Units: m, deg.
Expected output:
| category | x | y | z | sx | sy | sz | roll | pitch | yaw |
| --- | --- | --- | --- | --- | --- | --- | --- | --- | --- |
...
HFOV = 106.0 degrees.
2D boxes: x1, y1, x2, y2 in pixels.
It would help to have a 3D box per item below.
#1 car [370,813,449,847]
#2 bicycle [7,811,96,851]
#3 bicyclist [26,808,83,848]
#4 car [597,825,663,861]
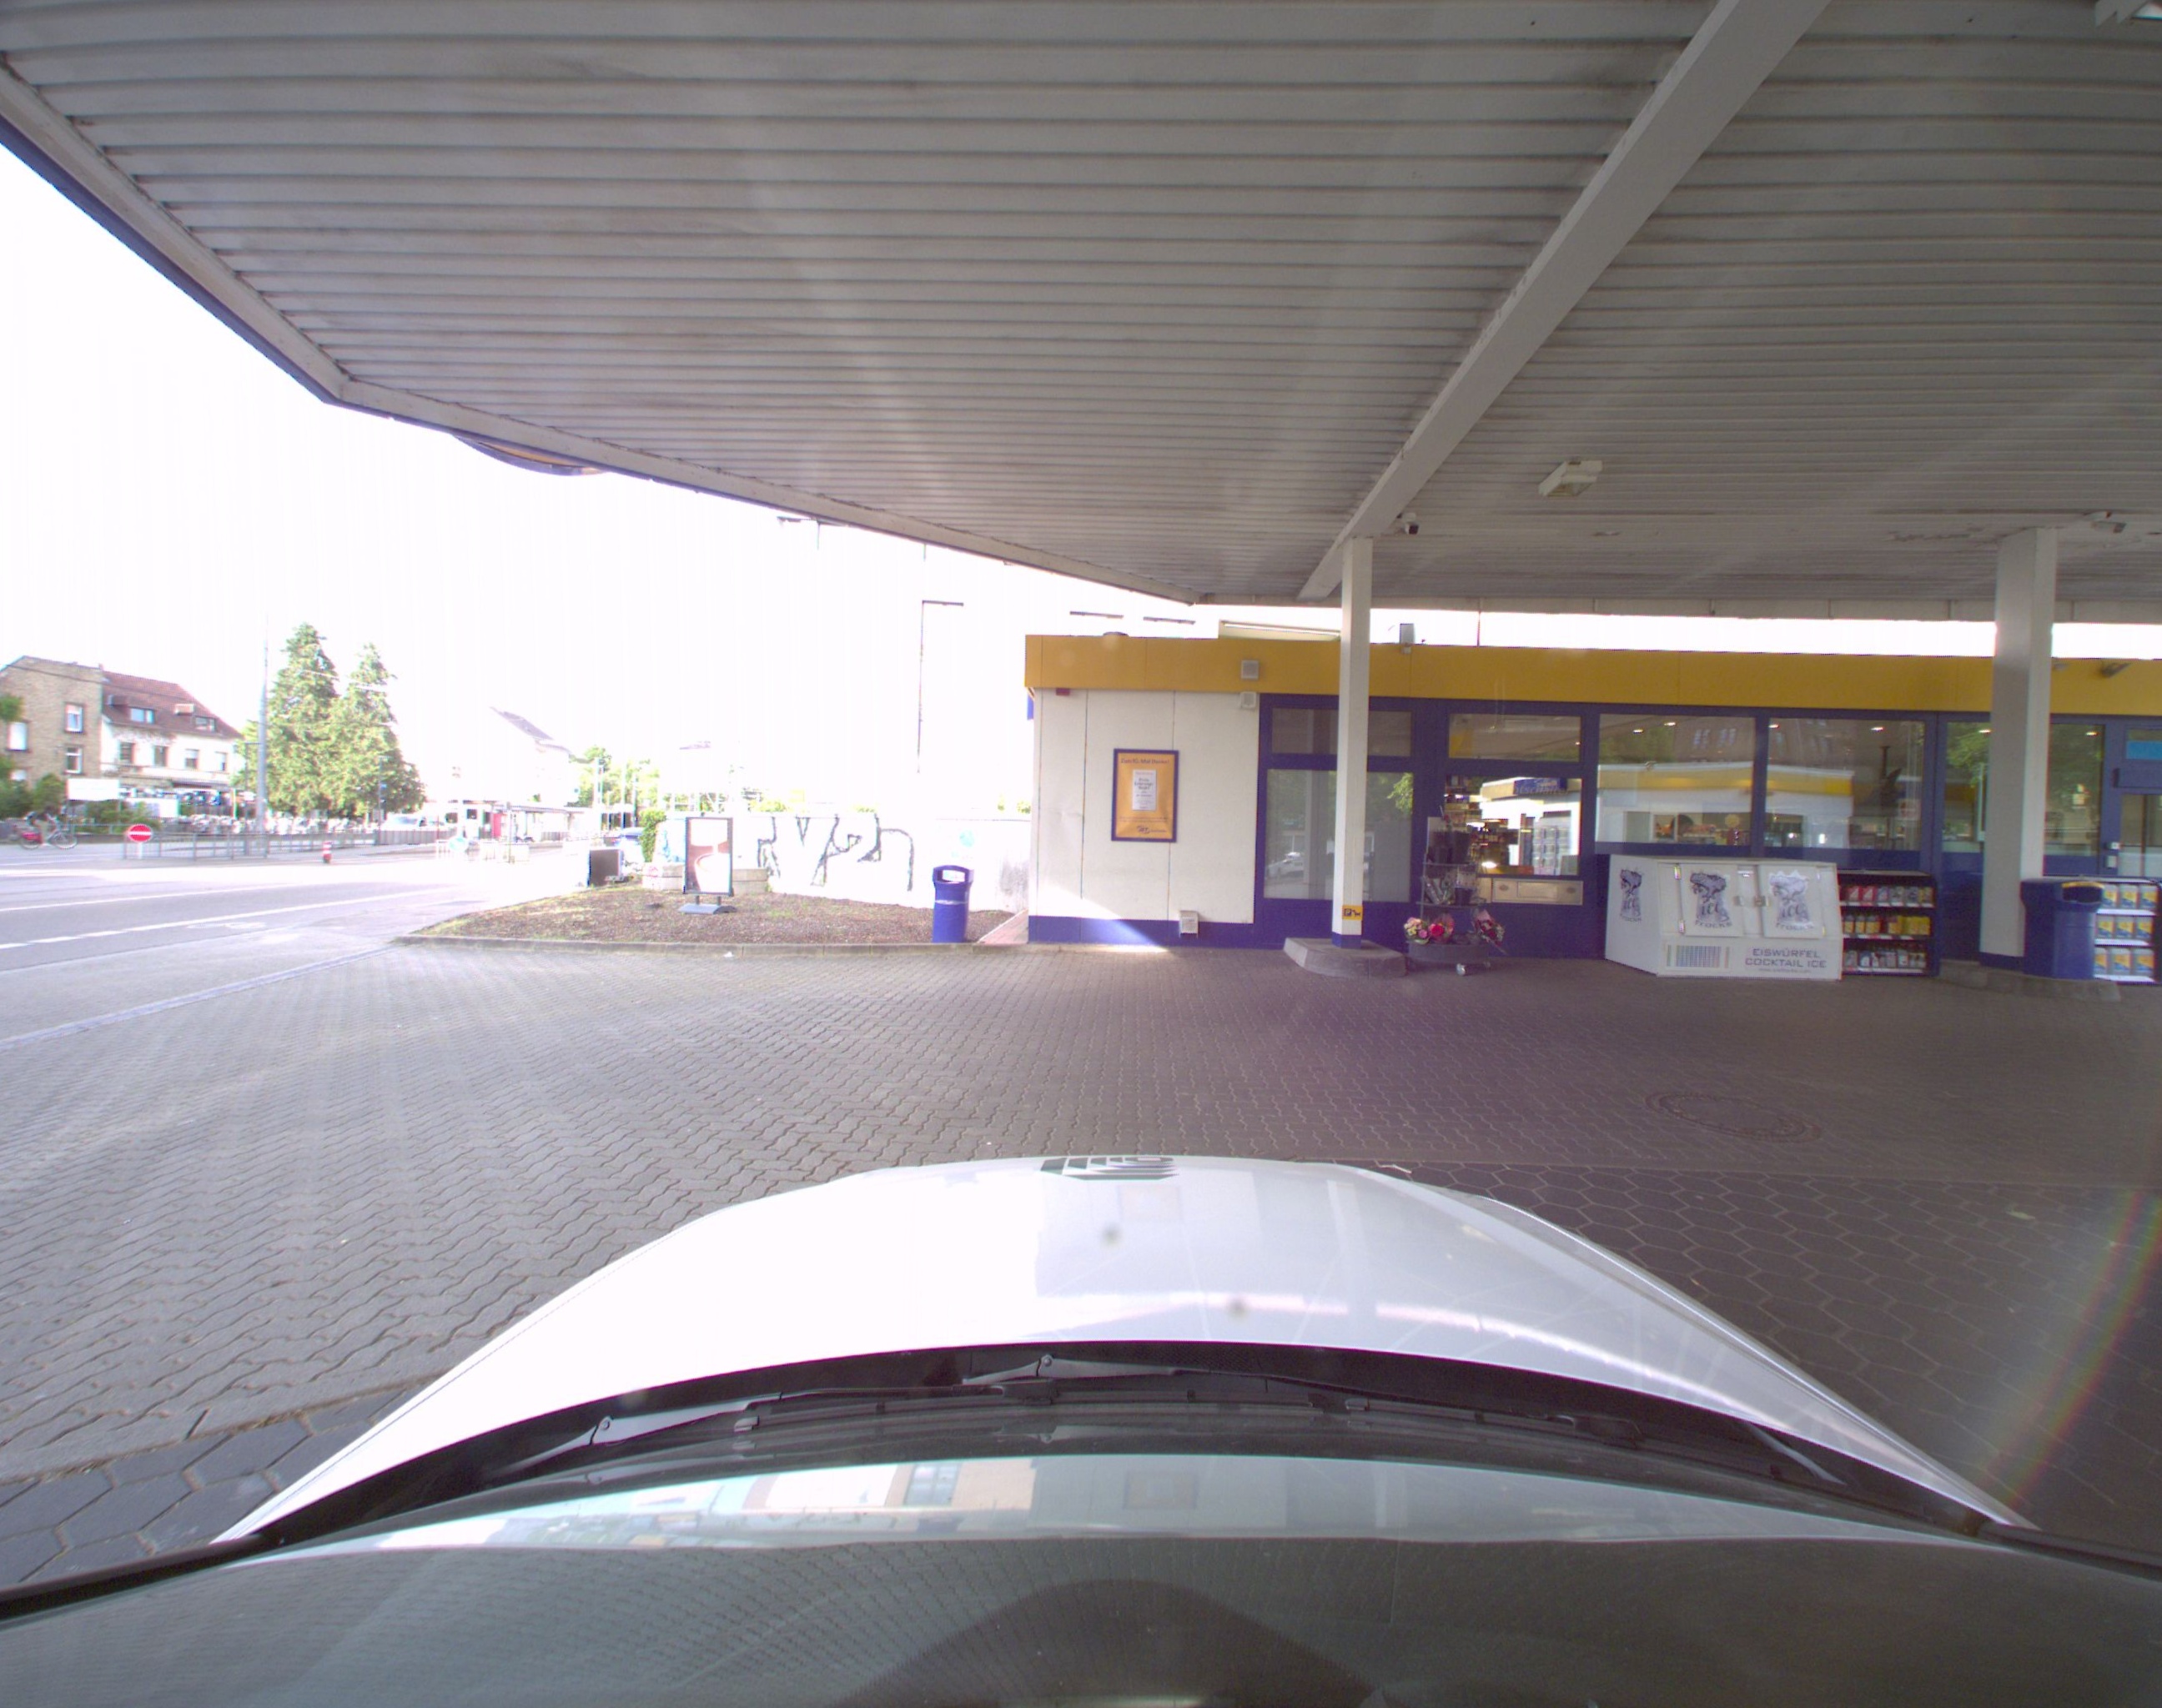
| category | x | y | z | sx | sy | sz | roll | pitch | yaw |
| --- | --- | --- | --- | --- | --- | --- | --- | --- | --- |
| car | -41.836 | -1.482 | 50.889 | 1.997 | 1.968 | 4.864 | 1 | 2 | -15 |
| bicycle | -41.232 | -0.896 | 32.657 | 0.781 | 1.492 | 1.998 | 4 | 0 | 12 |
| bicyclist | -41.215 | -1.029 | 32.707 | 0.781 | 1.492 | 1.099 | 4 | 0 | 11 |
| car | -23.117 | -0.563 | 41.957 | 1.767 | 1.657 | 4.827 | 2 | 0 | -15 |
